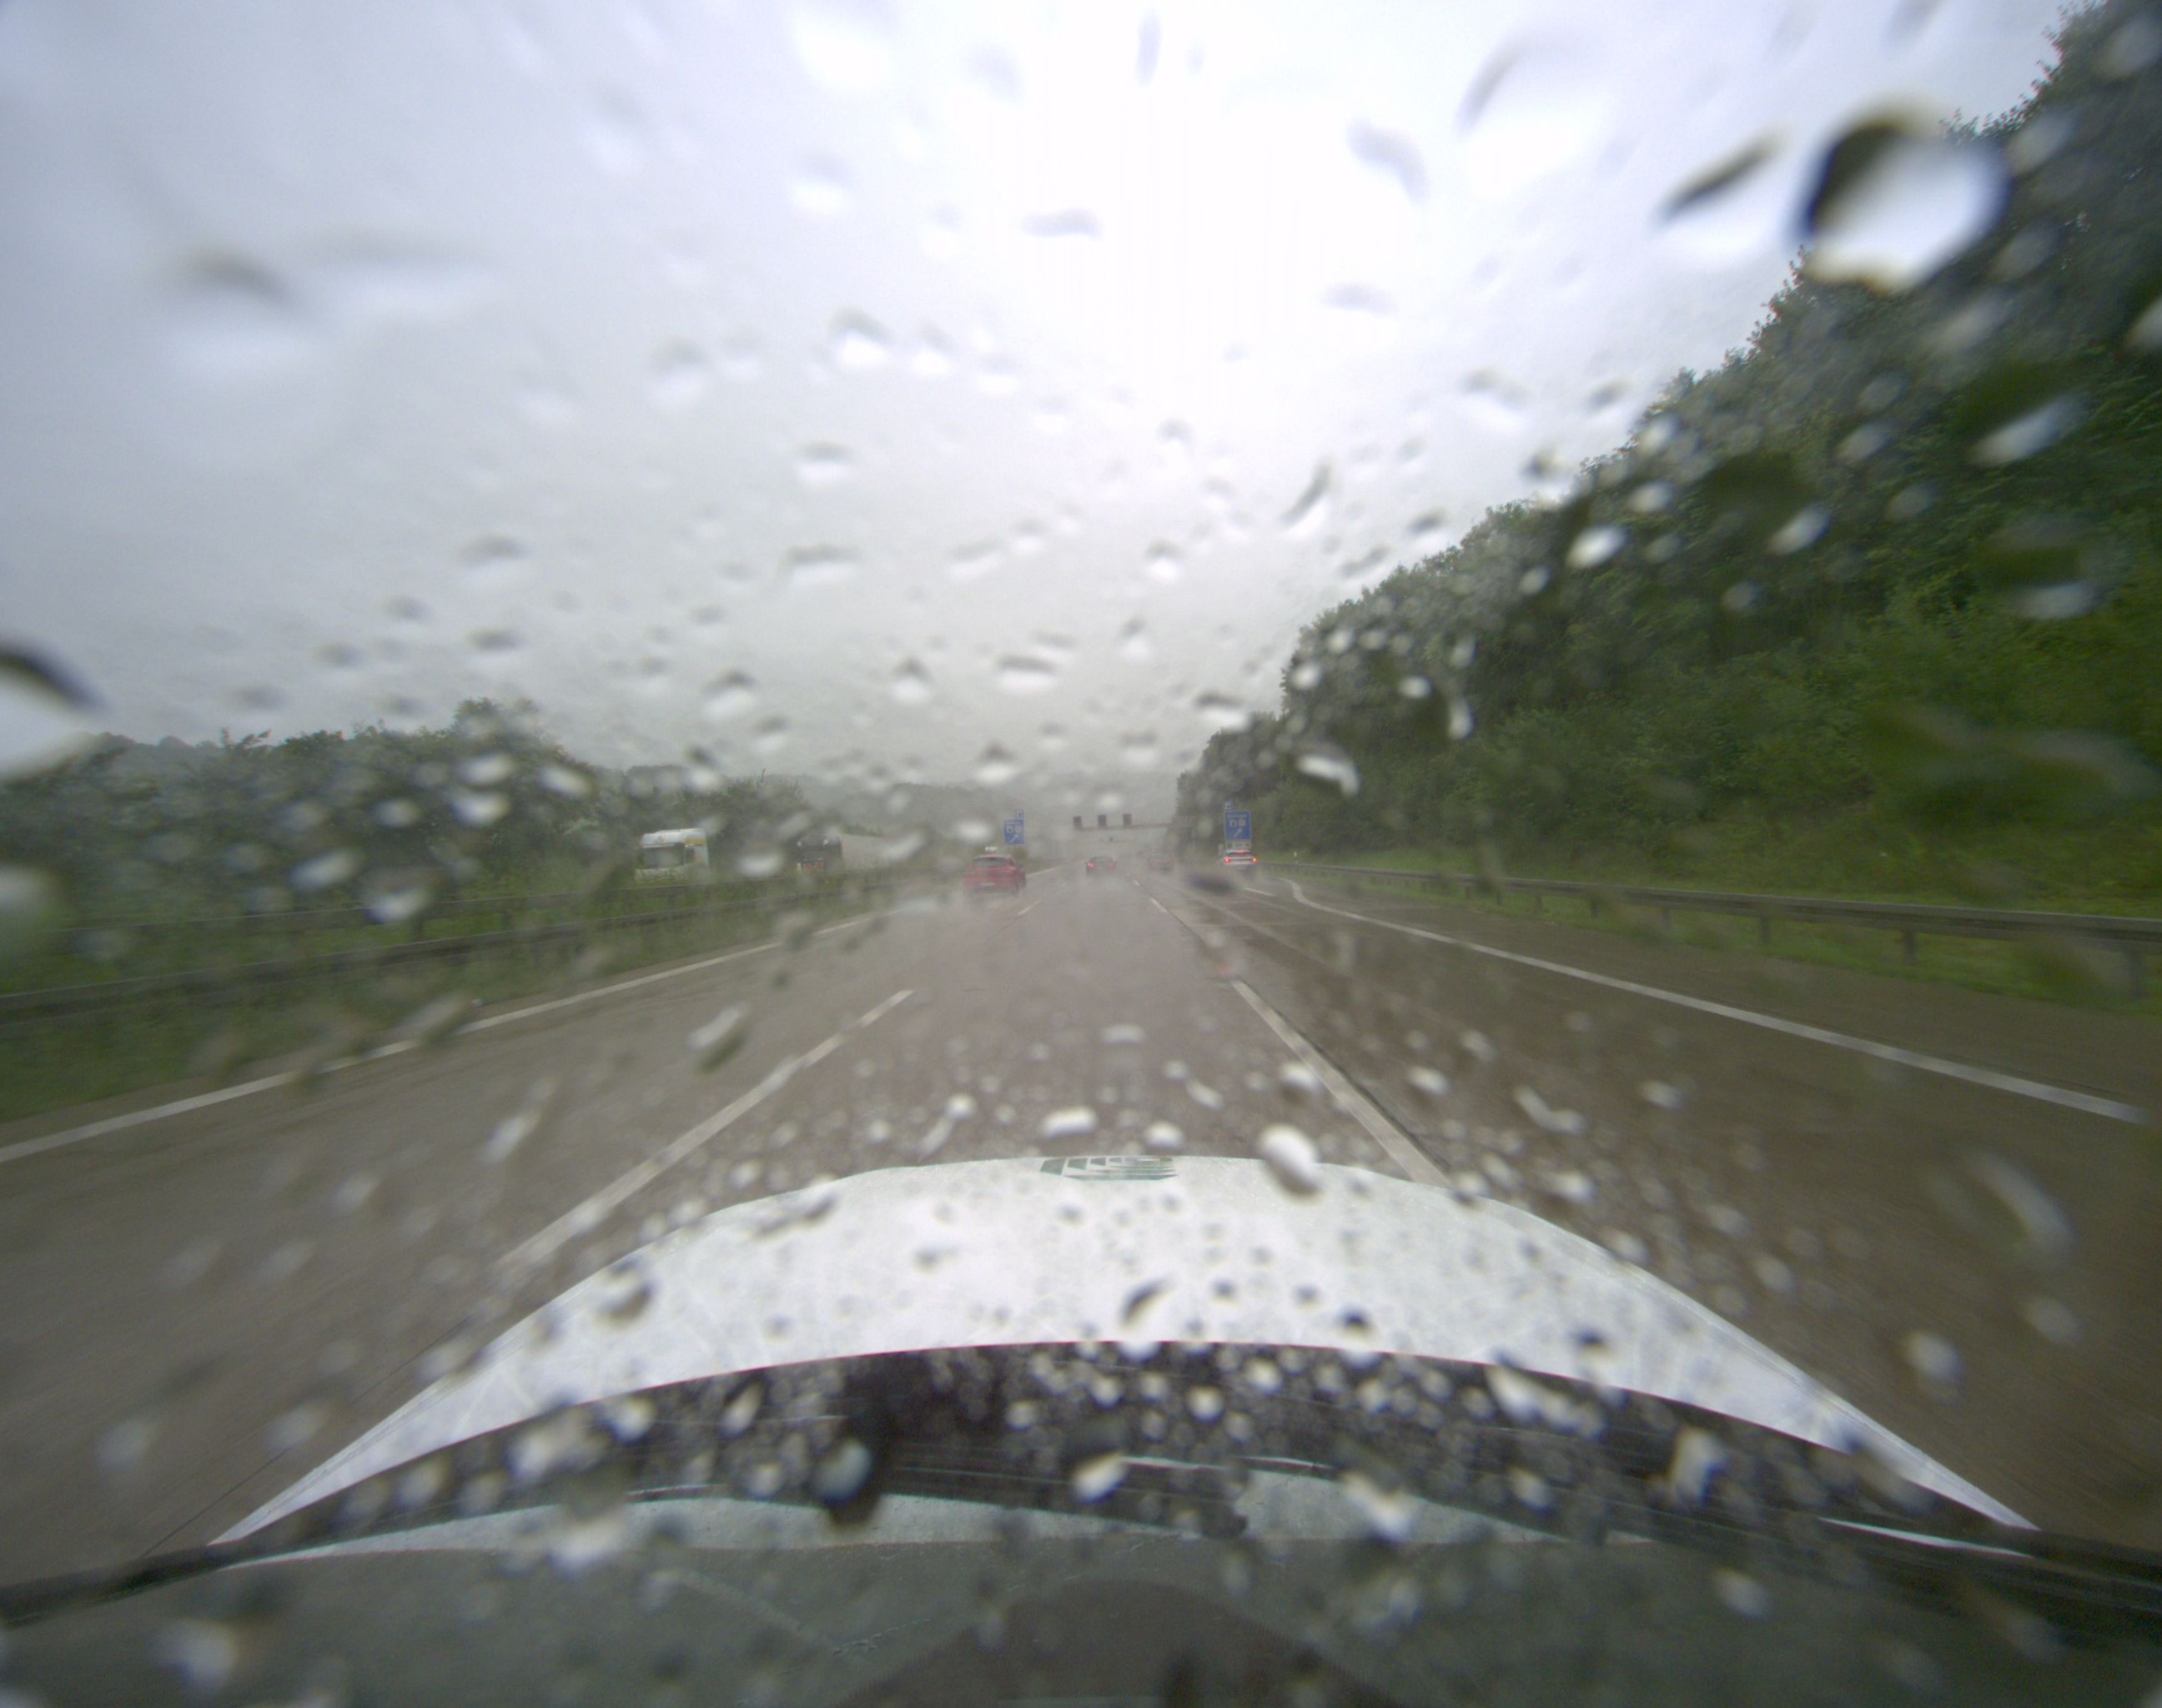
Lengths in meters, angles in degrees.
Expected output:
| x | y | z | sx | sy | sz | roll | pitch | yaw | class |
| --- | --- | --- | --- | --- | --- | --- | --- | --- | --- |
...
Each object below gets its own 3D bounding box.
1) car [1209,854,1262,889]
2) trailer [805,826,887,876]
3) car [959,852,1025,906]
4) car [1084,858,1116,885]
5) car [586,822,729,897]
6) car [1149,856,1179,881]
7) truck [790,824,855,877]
| x | y | z | sx | sy | sz | roll | pitch | yaw | class |
| --- | --- | --- | --- | --- | --- | --- | --- | --- | --- |
| 8.264 | 0.910 | 44.093 | 1.986 | 1.750 | 5.665 | 0 | -1 | 2 | car |
| -18.464 | -0.151 | 65.228 | 2.844 | 3.542 | 13.701 | 0 | 0 | -1 | trailer |
| -3.202 | 0.863 | 30.009 | 1.878 | 1.816 | 4.000 | -1 | 0 | 1 | car |
| 1.180 | 1.037 | 49.174 | 1.852 | 1.589 | 4.001 | 0 | -1 | 2 | car |
| -20.474 | 0.243 | 39.987 | 2.788 | 3.243 | 7.604 | -1 | 0 | 2 | car |
| 6.253 | 1.060 | 61.593 | 1.964 | 1.760 | 4.002 | -1 | 0 | 2 | car |
| -18.341 | -0.226 | 58.099 | 2.806 | 3.509 | 5.729 | -1 | 0 | -1 | truck |
